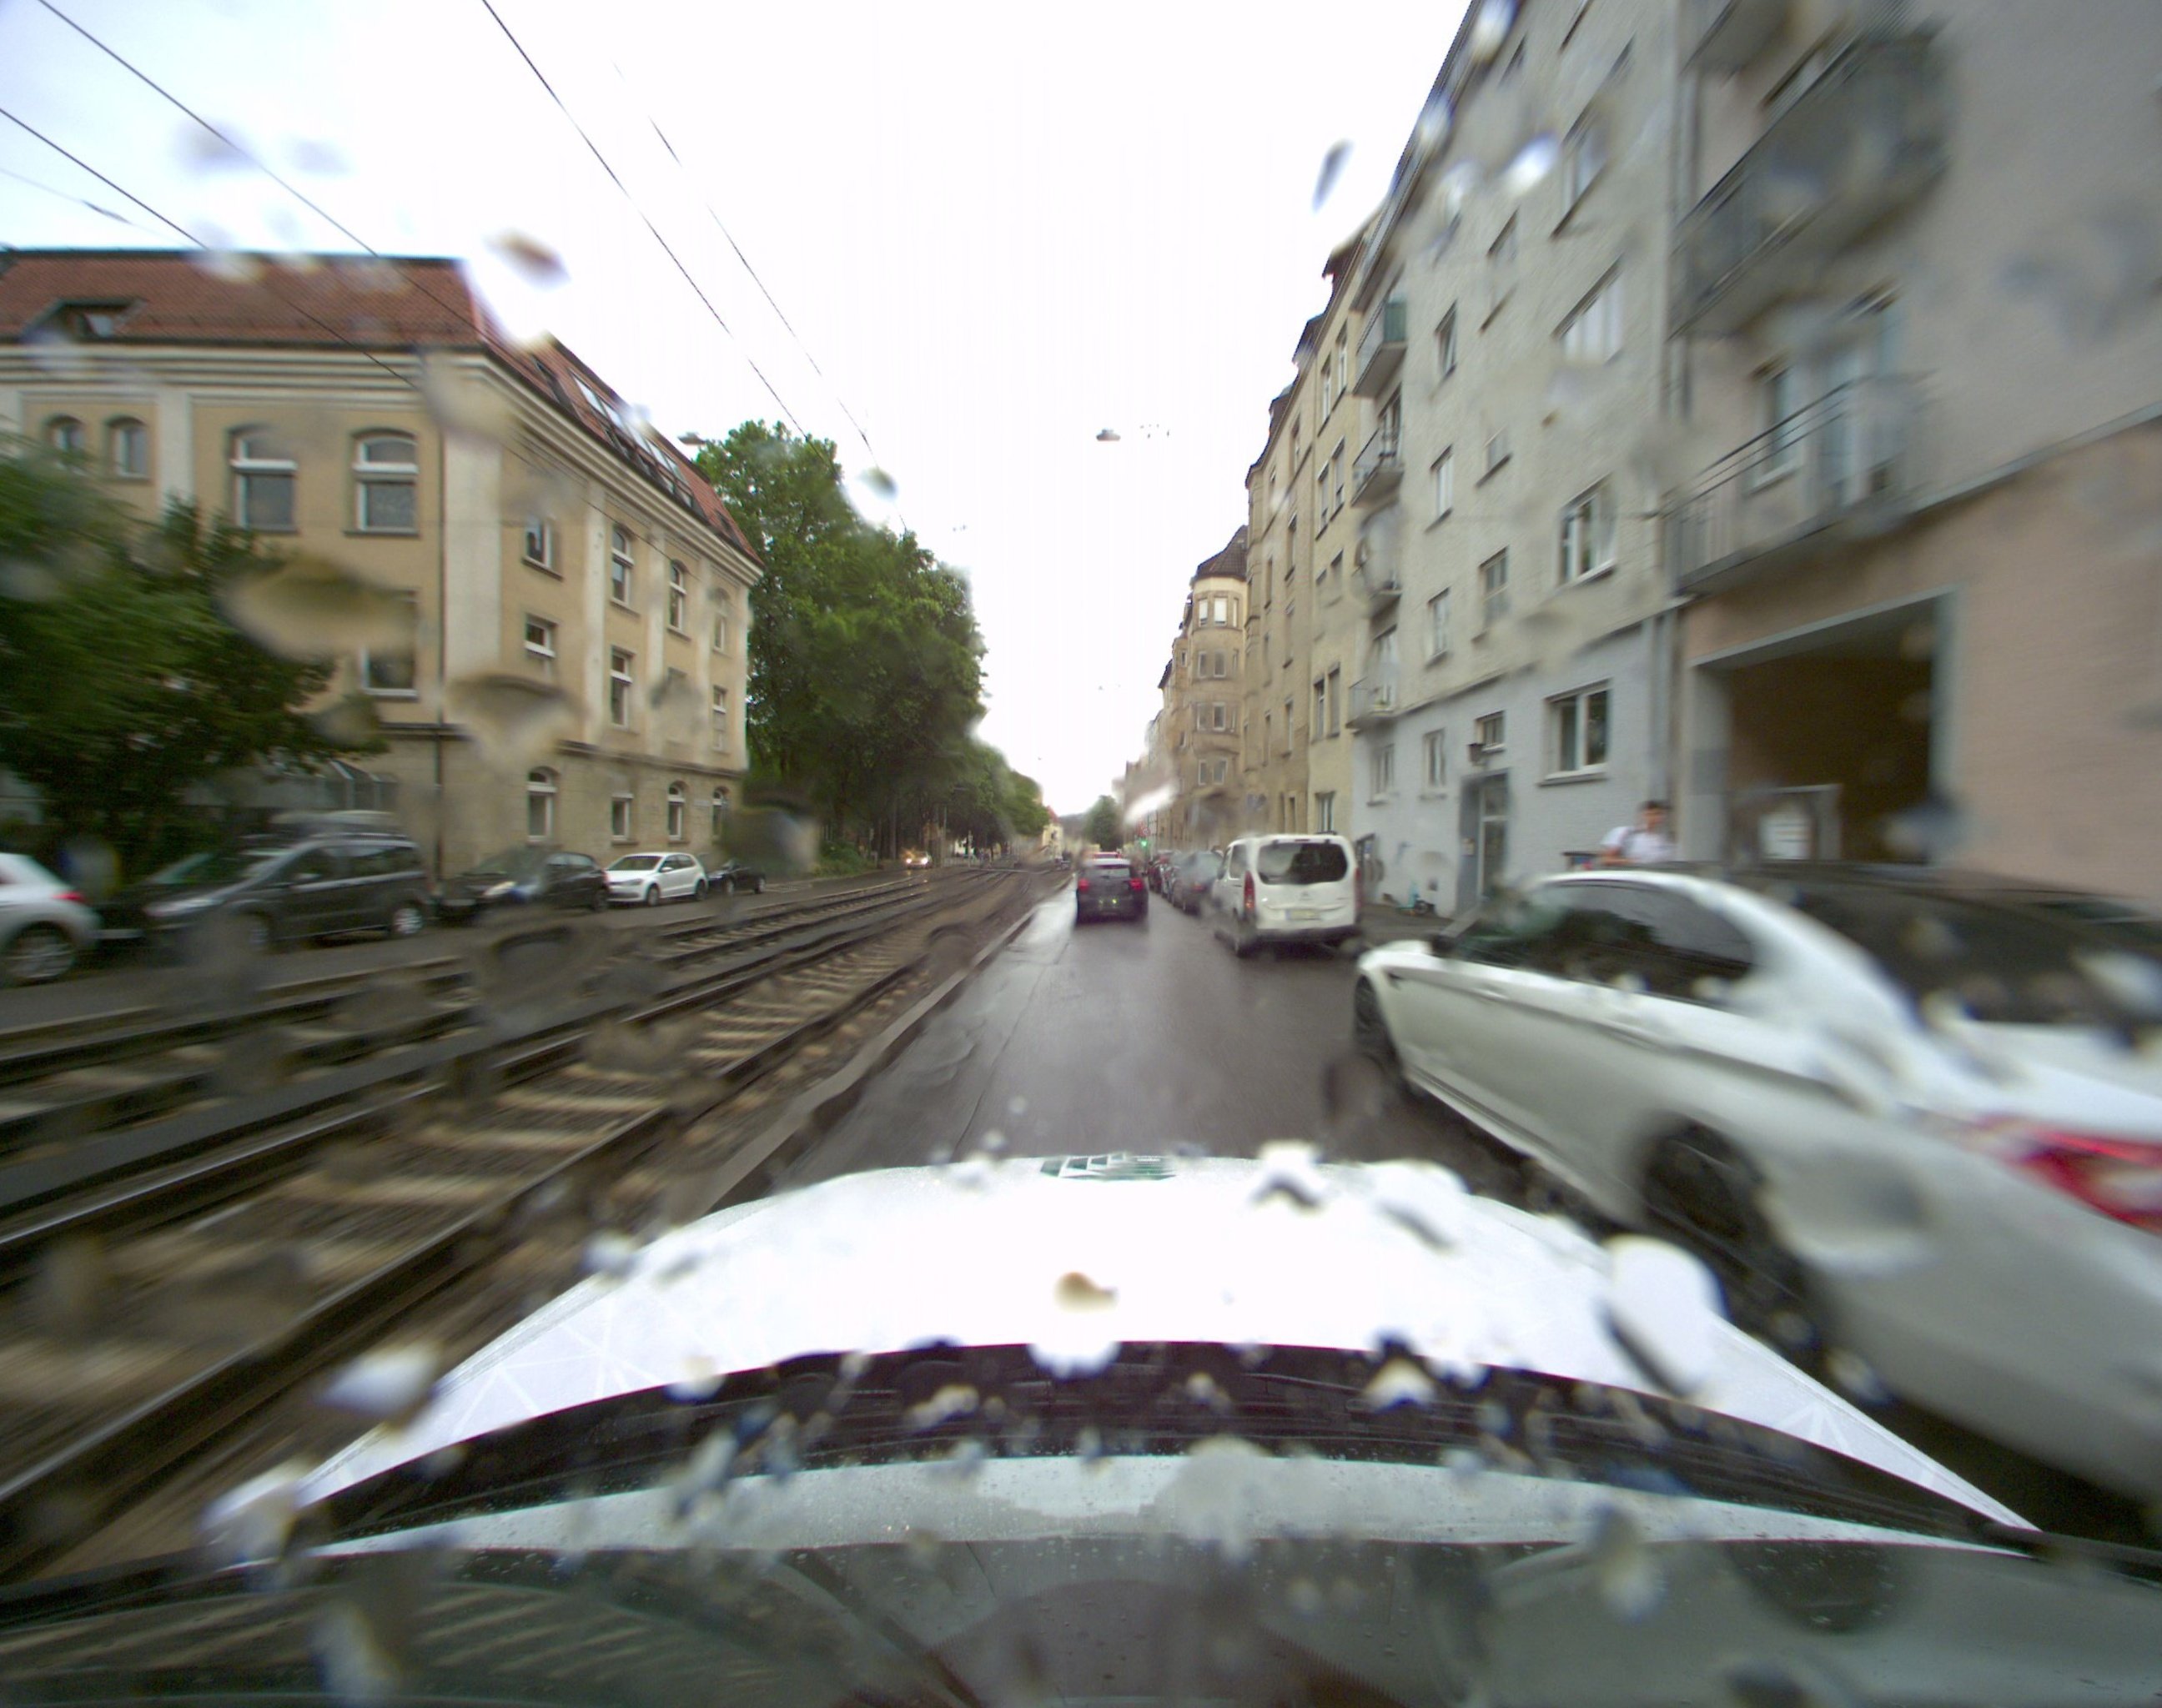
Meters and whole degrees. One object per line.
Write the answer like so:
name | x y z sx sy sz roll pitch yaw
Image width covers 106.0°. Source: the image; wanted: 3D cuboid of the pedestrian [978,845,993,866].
pedestrian | -7.767 0.123 66.572 1.050 1.718 0.904 1 0 2

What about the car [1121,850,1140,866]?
car | 5.168 0.358 85.514 1.753 1.579 4.001 -1 0 1

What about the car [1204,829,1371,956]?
car | 3.174 0.521 13.407 1.821 1.750 4.470 0 0 3

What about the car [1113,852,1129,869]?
car | 4.945 0.785 100.665 1.753 2.013 4.001 -1 0 1

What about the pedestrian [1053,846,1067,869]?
pedestrian | -1.931 0.323 74.510 1.135 1.998 1.171 -1 0 -3

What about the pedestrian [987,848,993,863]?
pedestrian | -10.204 0.177 91.708 0.532 1.754 0.607 2 0 1

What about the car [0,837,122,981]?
car | -12.088 0.603 7.495 1.534 1.505 4.154 -2 0 0

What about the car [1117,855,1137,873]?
car | 4.550 0.990 80.802 1.820 1.618 3.865 -1 0 1

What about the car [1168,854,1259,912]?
car | 3.356 0.685 21.442 1.711 1.347 4.462 1 0 1

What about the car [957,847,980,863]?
car | -13.218 0.112 95.679 1.986 1.739 4.002 1 0 2

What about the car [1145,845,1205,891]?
car | 3.619 0.507 32.008 1.761 1.668 4.330 1 0 -1

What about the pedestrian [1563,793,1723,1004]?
pedestrian | 5.246 0.390 7.679 0.743 1.833 1.039 -2 0 2

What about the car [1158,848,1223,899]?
car | 3.498 0.590 26.572 1.687 1.529 4.001 0 0 2

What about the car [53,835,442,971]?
car | -12.021 0.611 12.218 1.571 1.643 4.072 -2 0 0

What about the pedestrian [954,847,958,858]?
pedestrian | -19.784 -0.227 128.690 0.551 1.745 0.606 -1 -1 0

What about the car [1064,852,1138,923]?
car | 0.457 0.707 19.140 1.575 1.505 3.575 0 0 1

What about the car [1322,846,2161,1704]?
car | 2.776 0.702 3.809 1.865 1.455 4.902 0 0 0

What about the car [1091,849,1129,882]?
car | 1.389 0.539 40.228 1.779 1.581 4.001 0 0 1

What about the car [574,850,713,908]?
car | -11.832 0.617 22.336 1.494 1.391 3.990 -2 0 2

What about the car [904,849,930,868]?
car | -13.333 0.356 66.314 1.816 1.505 4.621 0 0 -8

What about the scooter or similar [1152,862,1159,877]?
scooter or similar | 7.004 1.464 76.434 0.447 1.321 1.776 -1 0 -1

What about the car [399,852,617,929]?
car | -11.981 0.685 17.410 1.668 1.413 4.012 -2 0 2

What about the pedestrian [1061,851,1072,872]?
pedestrian | -1.154 0.586 65.644 0.803 1.633 0.892 -1 0 1

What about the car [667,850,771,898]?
car | -11.727 0.590 26.664 1.609 1.429 3.853 0 0 1

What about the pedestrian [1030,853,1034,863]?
pedestrian | -8.546 0.632 141.709 0.516 1.717 0.551 2 0 1

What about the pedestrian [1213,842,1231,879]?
pedestrian | 7.067 0.318 40.823 0.692 1.787 0.758 -2 0 0

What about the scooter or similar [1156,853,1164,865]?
scooter or similar | 8.843 0.594 91.258 0.448 1.321 1.774 -1 0 -6

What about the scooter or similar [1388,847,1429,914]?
scooter or similar | 6.579 0.513 16.407 0.386 1.297 1.172 -1 0 2
